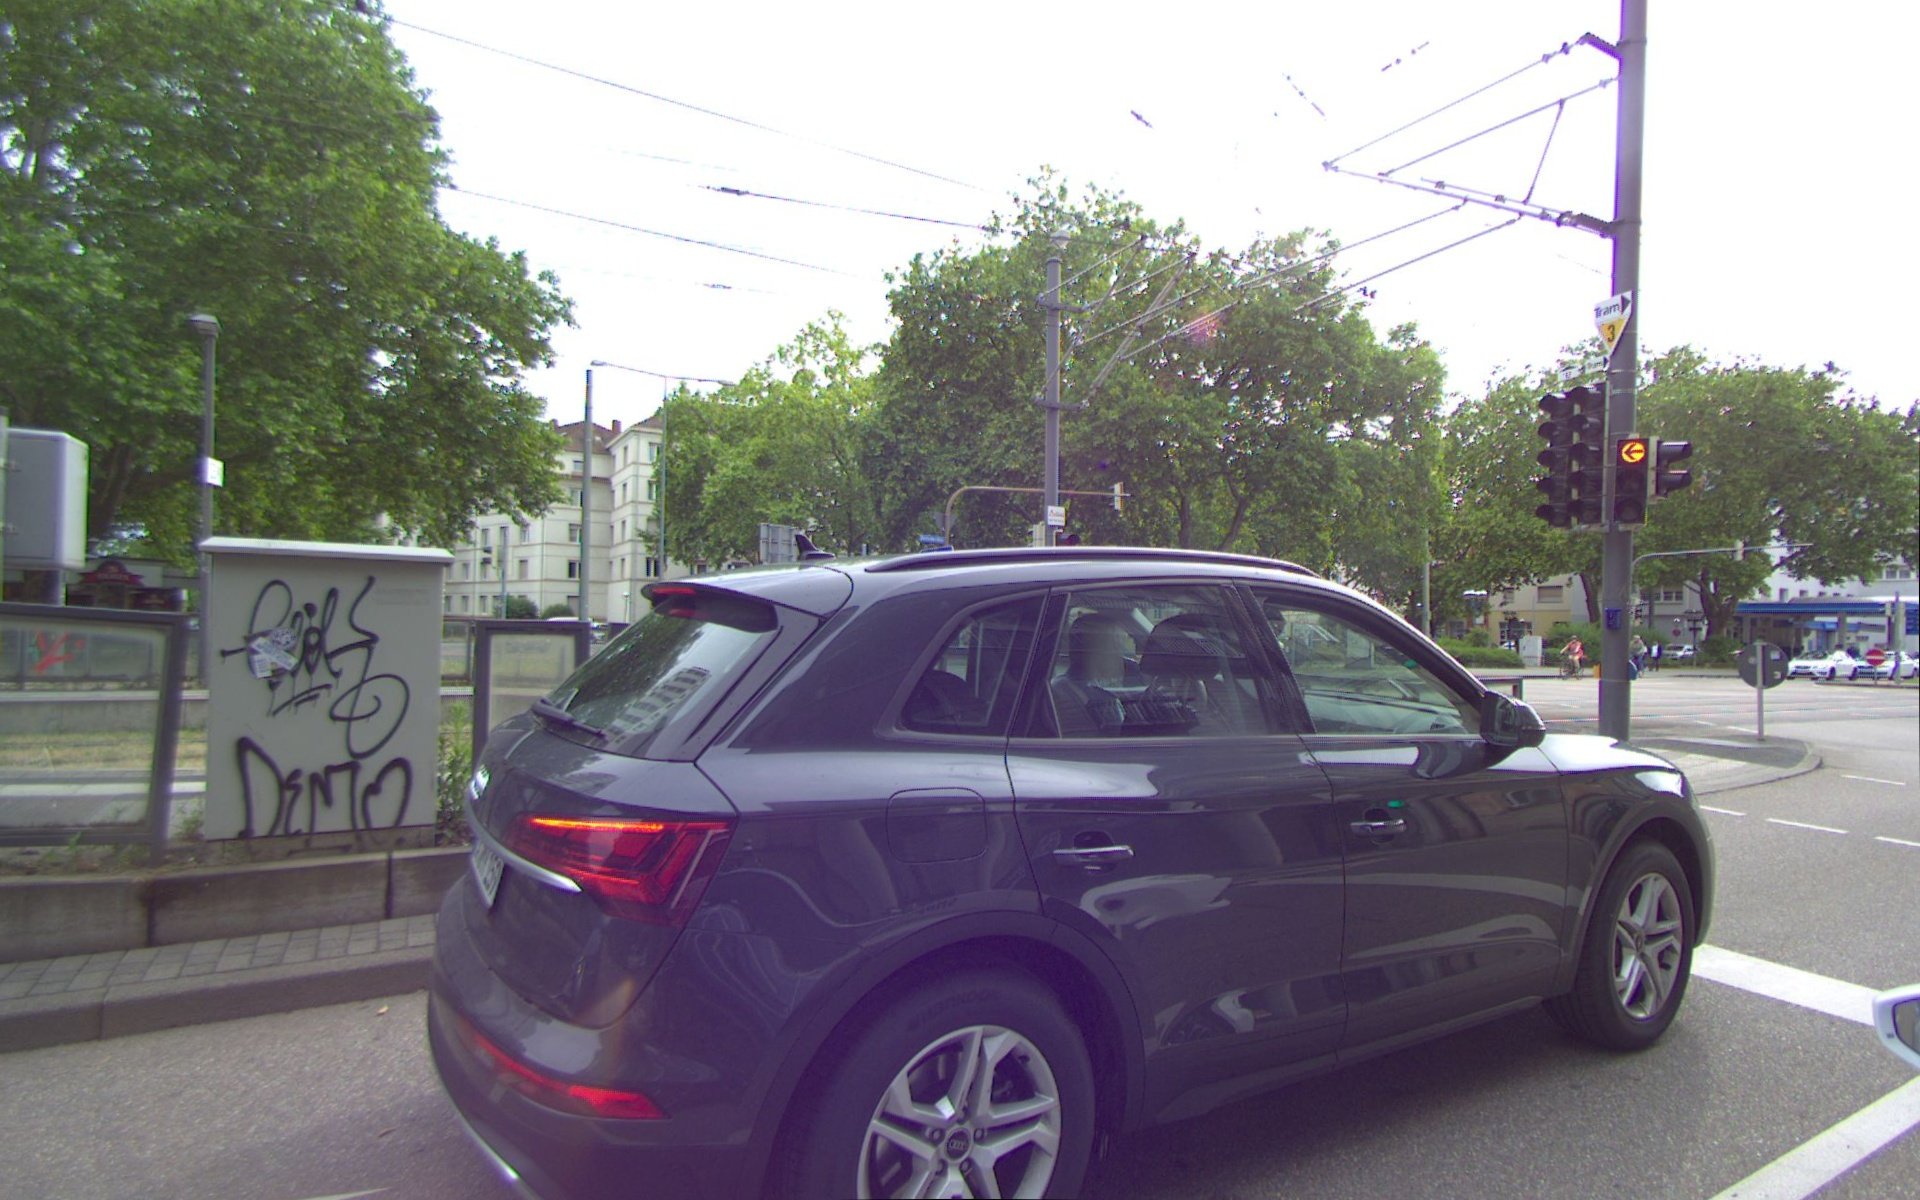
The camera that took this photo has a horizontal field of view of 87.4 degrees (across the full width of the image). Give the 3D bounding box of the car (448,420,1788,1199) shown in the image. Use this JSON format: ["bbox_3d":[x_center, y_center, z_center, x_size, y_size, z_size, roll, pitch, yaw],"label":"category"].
[{"bbox_3d":[0.724,0.619,3.458,4.317,1.669,1.902,2,0,-30],"label":"car"}]

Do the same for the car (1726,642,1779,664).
[{"bbox_3d":[54.618,3.655,69.199,3.363,1.376,1.694,2,0,-30],"label":"car"}]

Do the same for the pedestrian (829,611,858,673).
[{"bbox_3d":[-3.131,1.112,26.940,0.517,1.633,0.523,2,0,28],"label":"pedestrian"}]

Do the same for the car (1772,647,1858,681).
[{"bbox_3d":[41.199,3.055,48.390,4.362,1.467,1.833,2,0,-30],"label":"car"}]

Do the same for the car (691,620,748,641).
[{"bbox_3d":[-18.405,2.330,76.894,3.954,1.505,1.788,2,-1,-31],"label":"car"}]

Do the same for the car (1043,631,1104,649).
[{"bbox_3d":[9.429,3.324,83.682,4.766,1.408,2.071,0,-2,44],"label":"car"}]

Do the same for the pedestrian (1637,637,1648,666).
[{"bbox_3d":[36.035,2.725,53.044,0.370,1.498,0.358,2,-1,-36],"label":"pedestrian"}]

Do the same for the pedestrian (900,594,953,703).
[{"bbox_3d":[-0.560,0.795,16.764,0.619,1.773,0.651,2,0,-28],"label":"pedestrian"}]

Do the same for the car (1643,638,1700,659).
[{"bbox_3d":[52.380,3.559,73.929,3.953,1.486,1.984,2,-1,-30],"label":"car"}]

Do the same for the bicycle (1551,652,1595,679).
[{"bbox_3d":[25.317,2.707,41.472,1.970,1.078,0.723,2,-3,-31],"label":"bicycle"}]

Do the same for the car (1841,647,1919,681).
[{"bbox_3d":[47.600,3.278,51.602,5.636,1.546,1.832,2,0,-30],"label":"car"}]

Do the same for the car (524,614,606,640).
[{"bbox_3d":[-26.898,1.863,68.487,4.789,1.686,1.979,2,-2,-38],"label":"car"}]

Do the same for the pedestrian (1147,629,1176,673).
[{"bbox_3d":[8.065,2.040,40.227,0.748,1.712,0.799,2,-1,-34],"label":"pedestrian"}]

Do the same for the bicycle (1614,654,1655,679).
[{"bbox_3d":[30.305,2.980,45.127,1.969,1.078,0.724,2,-3,-30],"label":"bicycle"}]

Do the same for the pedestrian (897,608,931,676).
[{"bbox_3d":[-1.326,1.208,28.904,0.680,1.911,0.684,2,0,-28],"label":"pedestrian"}]

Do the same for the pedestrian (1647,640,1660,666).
[{"bbox_3d":[36.394,2.804,52.717,0.465,1.343,0.452,2,-1,-36],"label":"pedestrian"}]

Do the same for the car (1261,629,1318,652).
[{"bbox_3d":[31.540,3.859,96.167,4.766,2.129,2.071,0,-2,44],"label":"car"}]

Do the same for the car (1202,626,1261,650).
[{"bbox_3d":[24.742,3.453,91.544,4.766,2.129,2.071,0,-2,44],"label":"car"}]

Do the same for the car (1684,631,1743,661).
[{"bbox_3d":[53.591,3.301,71.403,3.953,2.040,1.984,2,-2,-30],"label":"car"}]

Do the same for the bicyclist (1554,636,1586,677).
[{"bbox_3d":[25.173,2.326,41.448,0.983,1.659,0.702,2,-3,-31],"label":"bicyclist"}]

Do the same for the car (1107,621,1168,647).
[{"bbox_3d":[15.117,2.880,85.506,4.766,2.129,2.071,0,-2,44],"label":"car"}]

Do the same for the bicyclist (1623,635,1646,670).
[{"bbox_3d":[30.369,2.374,45.223,0.748,1.582,0.580,2,-3,-30],"label":"bicyclist"}]

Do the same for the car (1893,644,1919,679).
[{"bbox_3d":[53.241,3.375,54.988,5.088,1.807,1.694,2,0,-30],"label":"car"}]
